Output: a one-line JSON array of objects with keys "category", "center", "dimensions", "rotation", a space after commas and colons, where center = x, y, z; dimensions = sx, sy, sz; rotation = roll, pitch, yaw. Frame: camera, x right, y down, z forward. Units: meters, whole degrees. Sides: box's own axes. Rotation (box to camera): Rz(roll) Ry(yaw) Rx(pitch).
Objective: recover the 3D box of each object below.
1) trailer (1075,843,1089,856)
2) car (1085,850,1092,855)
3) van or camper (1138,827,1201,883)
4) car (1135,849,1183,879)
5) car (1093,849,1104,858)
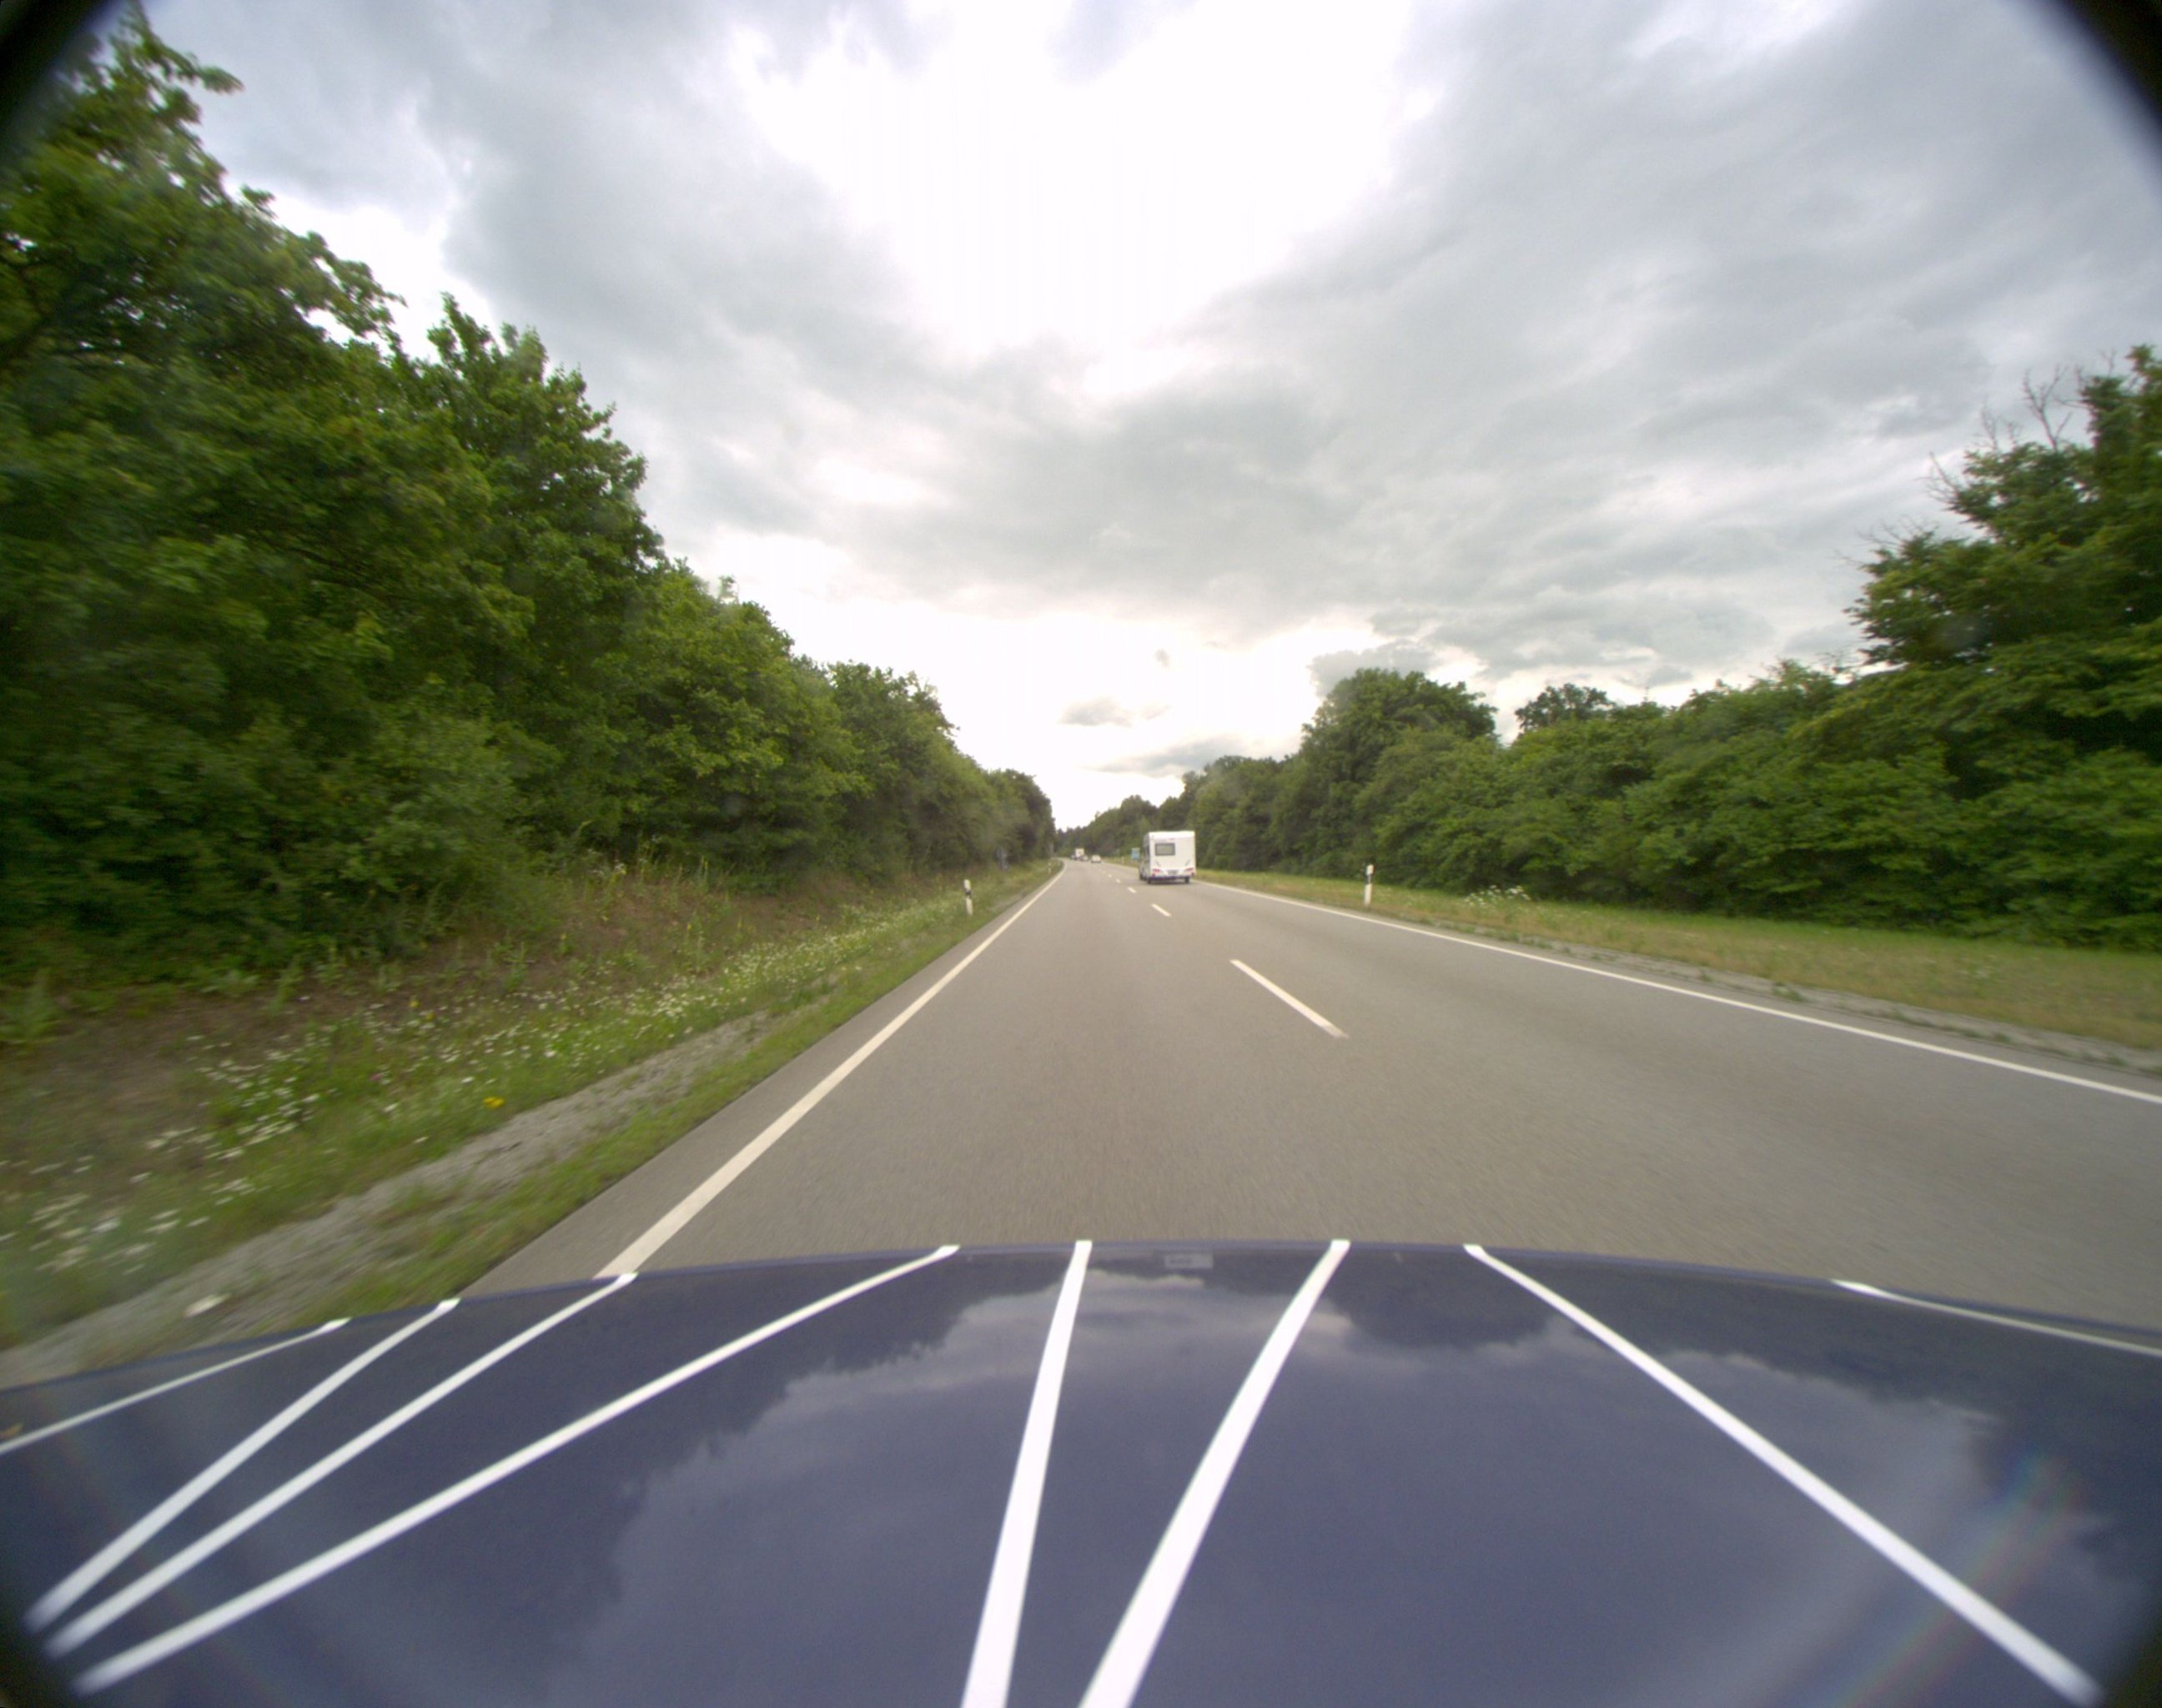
[{"category": "trailer", "center": [0.299, -1.372, 253.601], "dimensions": [3.213, 4.043, 14.264], "rotation": [-2, 0, -6]}, {"category": "car", "center": [1.954, -0.401, 196.192], "dimensions": [1.730, 1.426, 4.502], "rotation": [-2, 0, -1]}, {"category": "van or camper", "center": [4.397, 0.019, 38.835], "dimensions": [2.386, 2.560, 6.279], "rotation": [-2, 0, 0]}, {"category": "car", "center": [4.481, 0.550, 44.419], "dimensions": [2.284, 1.594, 4.691], "rotation": [-2, 0, 0]}, {"category": "car", "center": [3.553, -0.120, 157.198], "dimensions": [1.969, 1.565, 5.451], "rotation": [-2, 0, -1]}]
